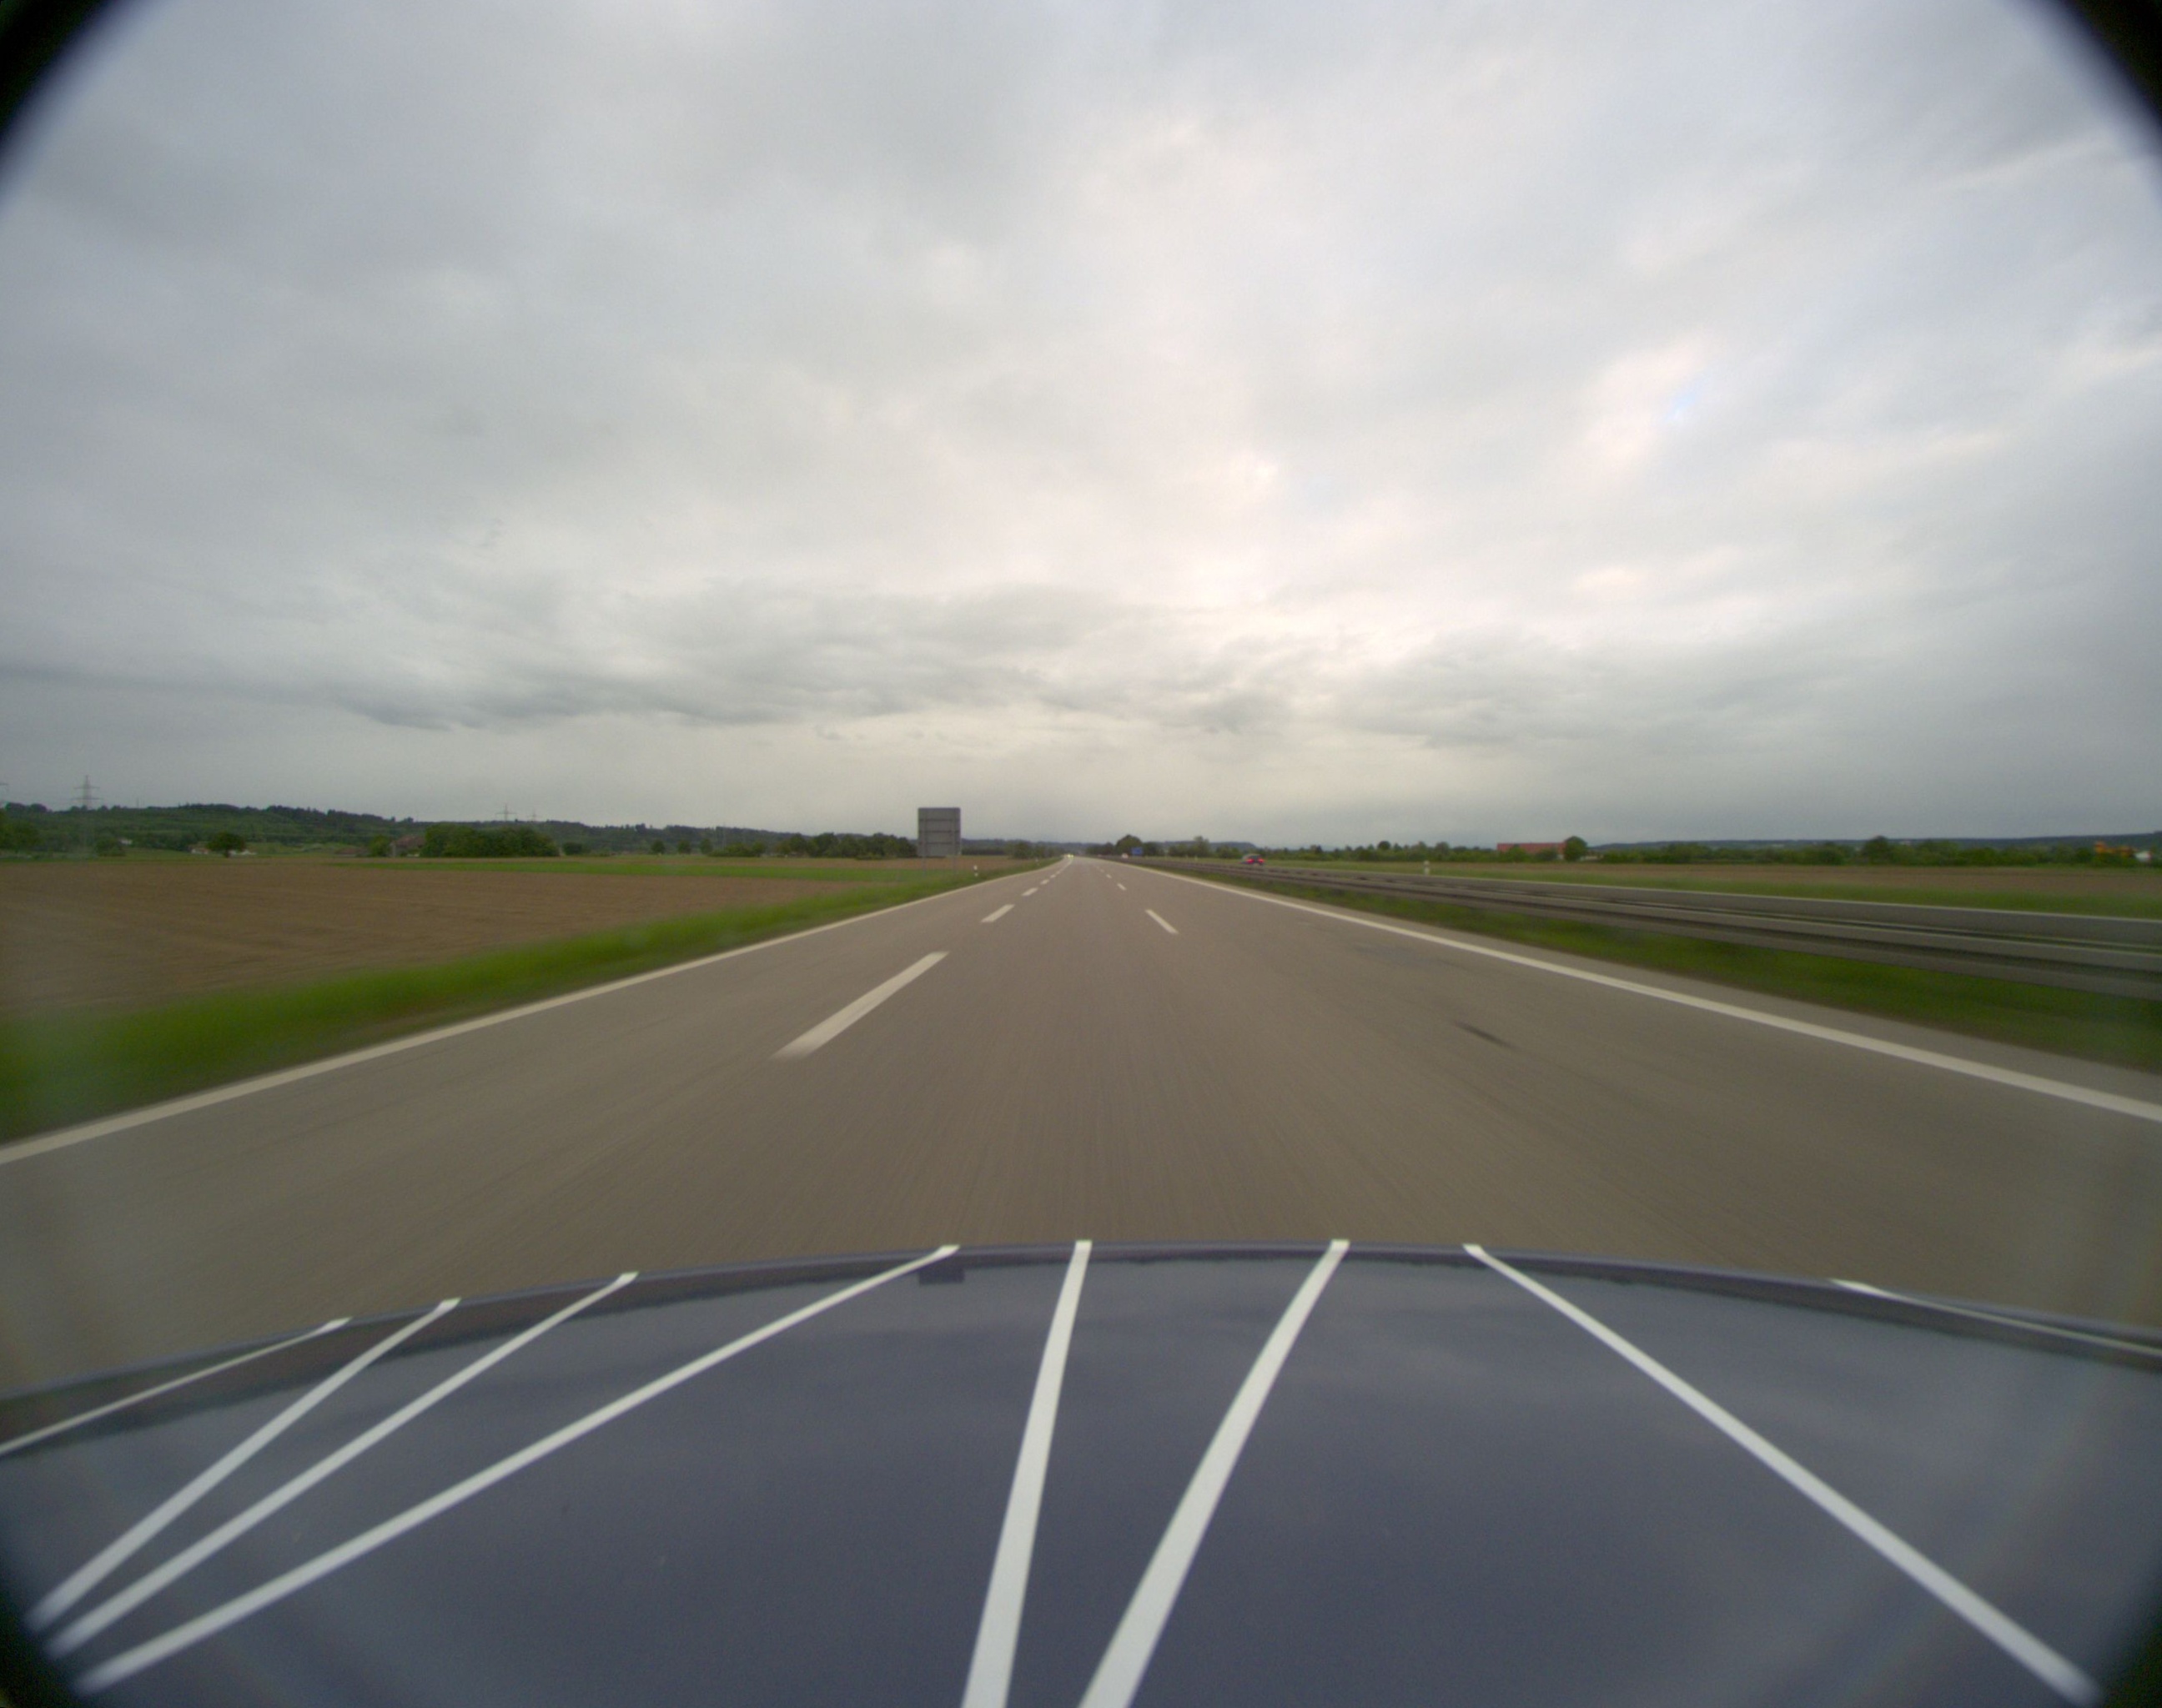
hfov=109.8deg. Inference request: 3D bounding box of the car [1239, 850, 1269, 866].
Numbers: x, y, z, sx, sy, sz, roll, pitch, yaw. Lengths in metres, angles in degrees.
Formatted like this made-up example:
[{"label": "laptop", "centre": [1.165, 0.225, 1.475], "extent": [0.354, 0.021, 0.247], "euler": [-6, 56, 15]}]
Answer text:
[{"label": "car", "centre": [17.444, 0.388, 76.711], "extent": [1.998, 1.471, 4.451], "euler": [-2, 0, 0]}]
